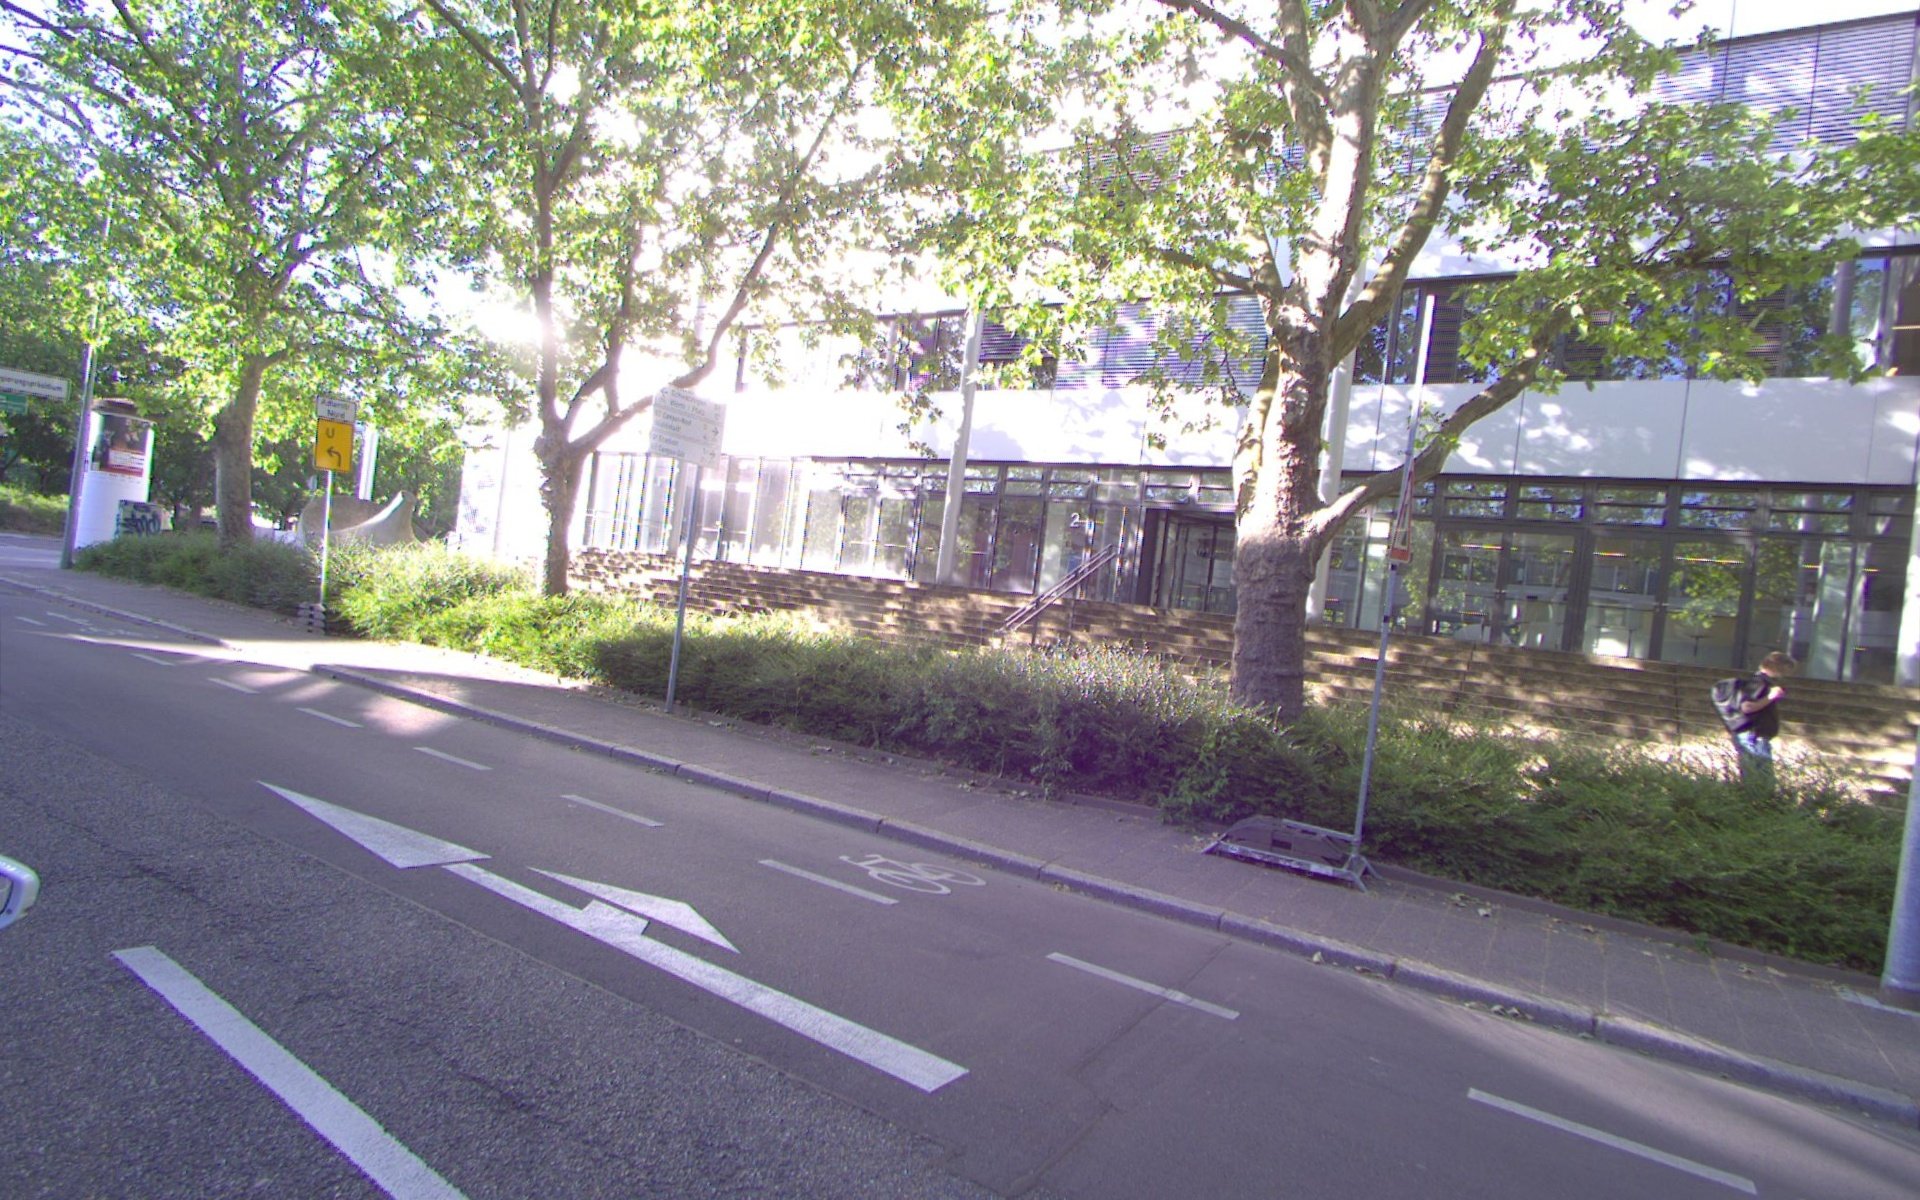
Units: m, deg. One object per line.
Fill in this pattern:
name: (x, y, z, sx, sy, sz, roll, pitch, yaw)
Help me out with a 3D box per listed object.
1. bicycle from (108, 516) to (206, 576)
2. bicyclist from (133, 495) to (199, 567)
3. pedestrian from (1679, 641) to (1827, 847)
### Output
bicycle: (-19.408, -1.279, 24.392, 0.706, 1.186, 2.175, 7, -2, -7)
bicyclist: (-19.388, -1.664, 24.582, 0.706, 1.601, 0.935, 7, -1, -7)
pedestrian: (7.687, 1.366, 9.801, 0.848, 1.802, 0.785, 7, 0, 30)
